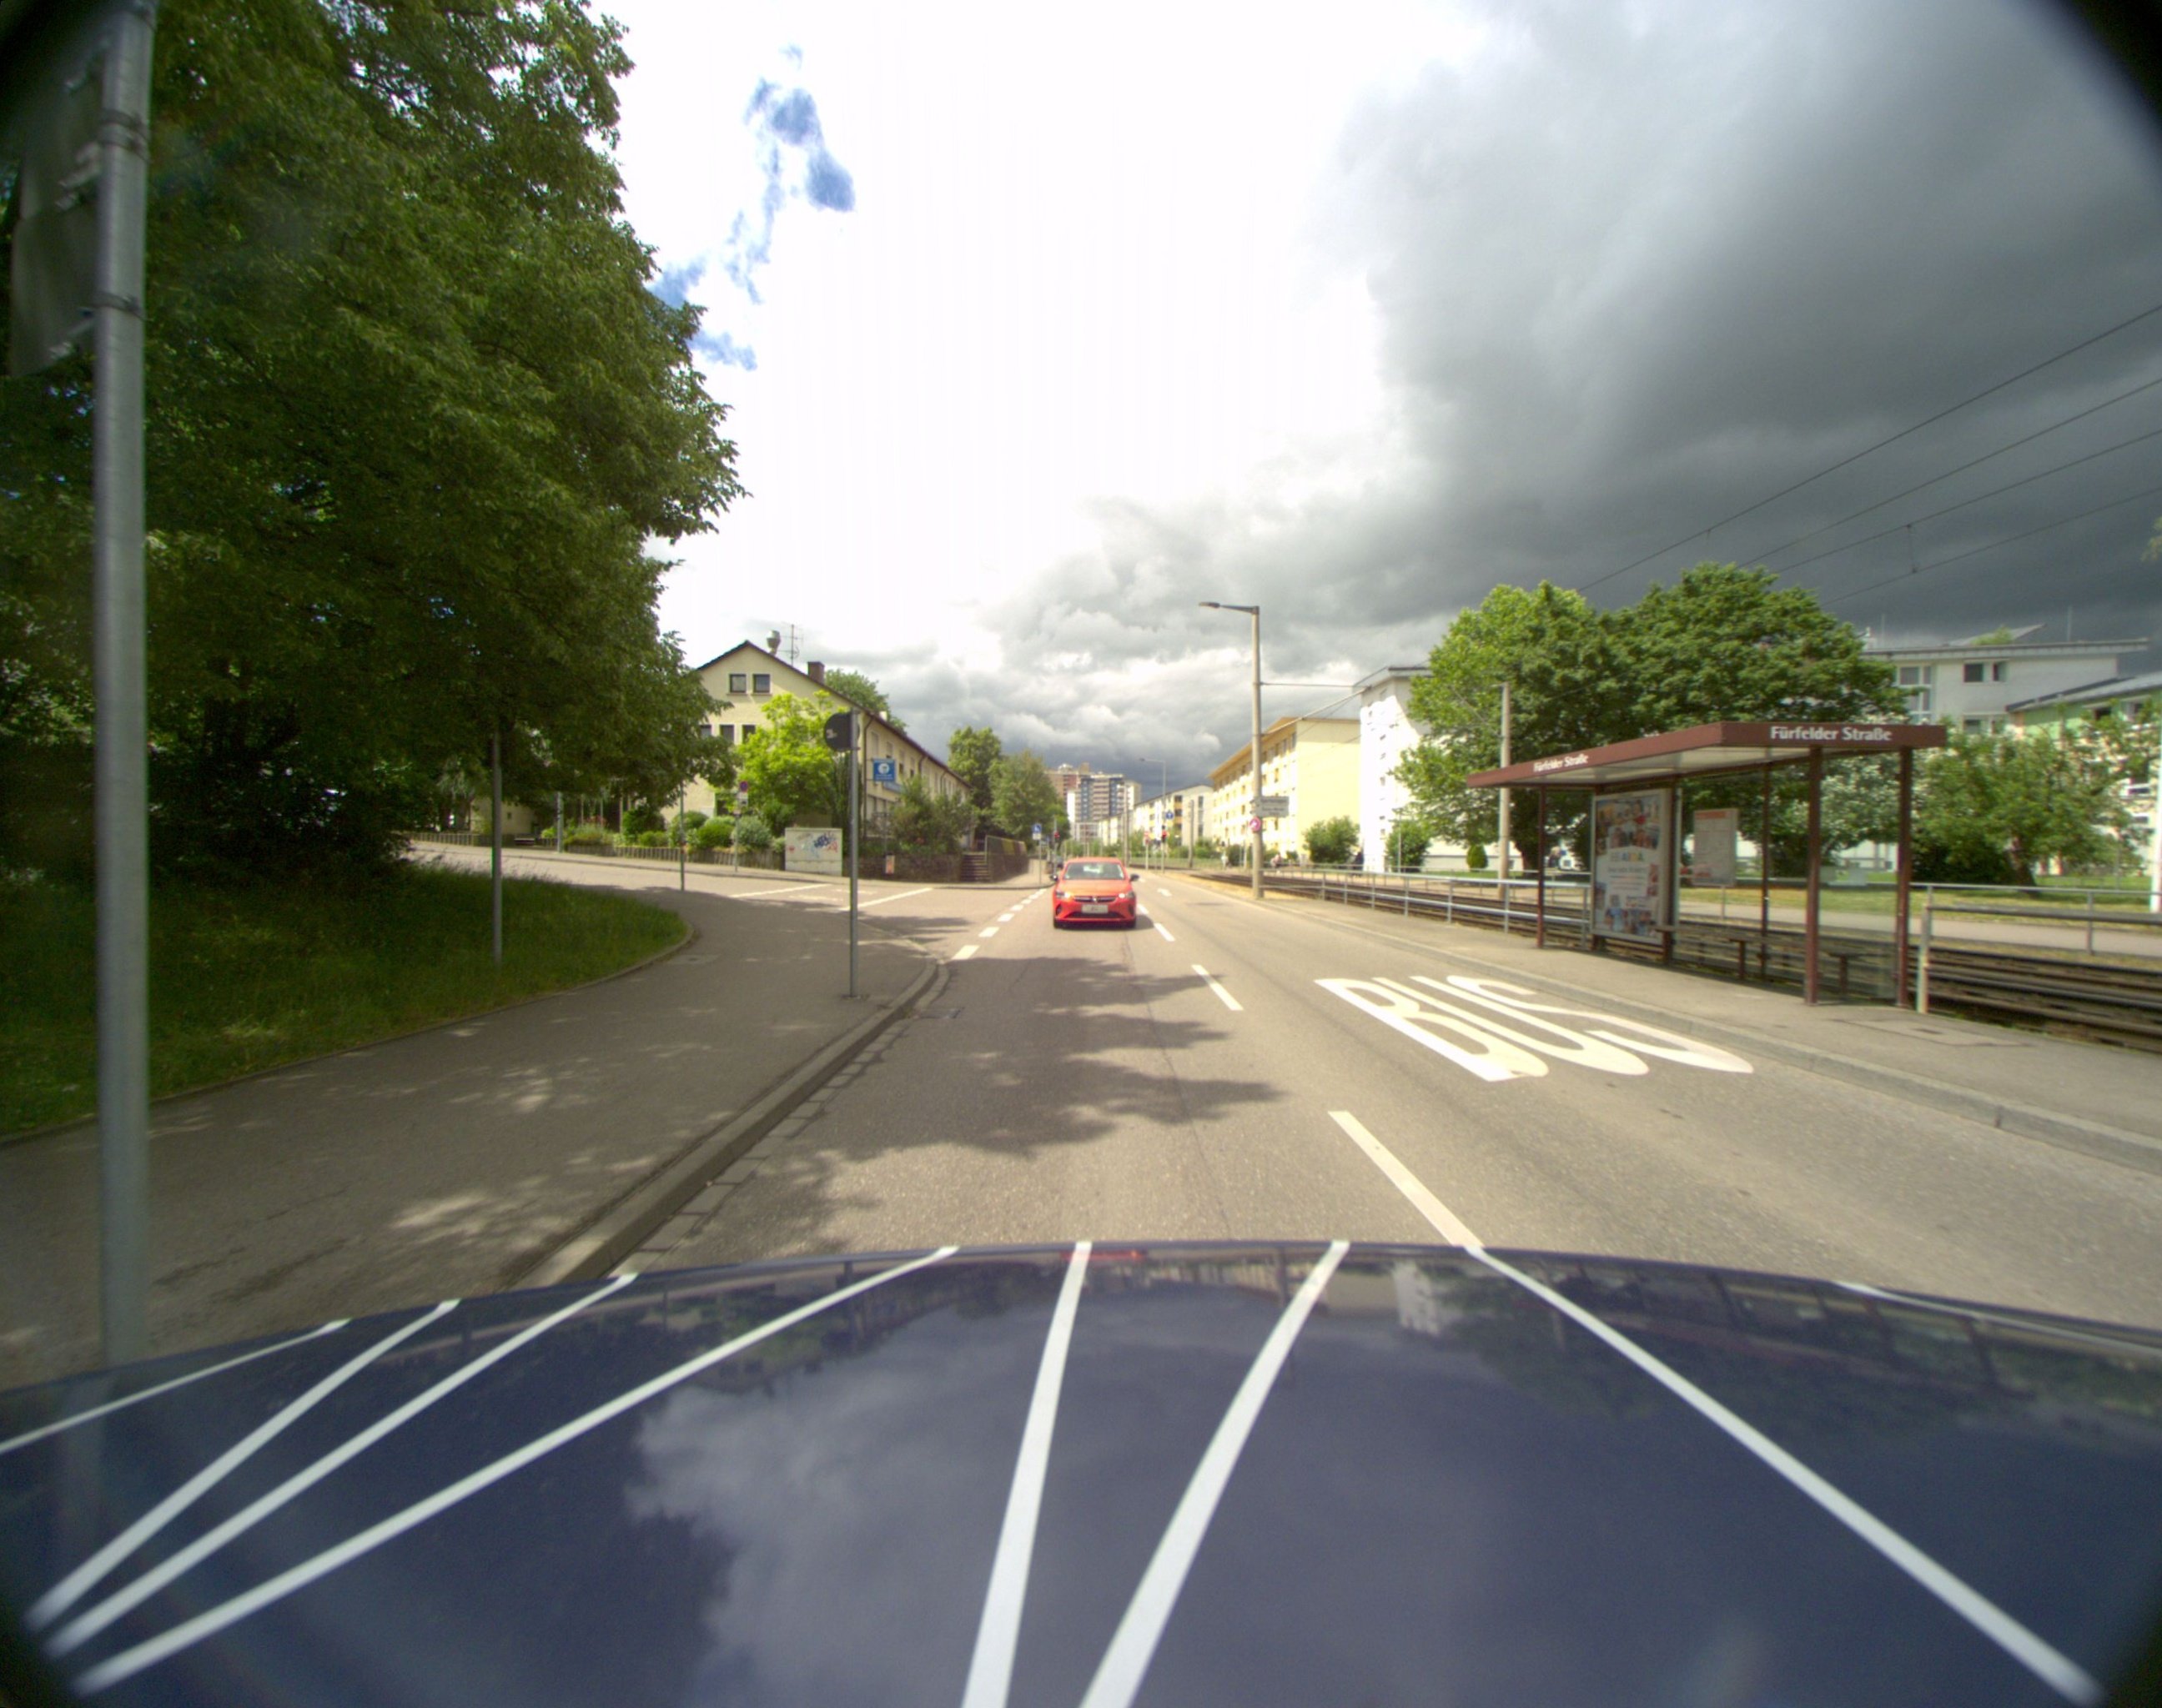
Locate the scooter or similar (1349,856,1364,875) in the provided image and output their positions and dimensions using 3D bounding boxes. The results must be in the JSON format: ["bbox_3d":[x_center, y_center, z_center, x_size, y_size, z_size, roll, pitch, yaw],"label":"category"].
[{"bbox_3d":[16.458,0.683,45.394,0.606,1.108,0.821,-1,1,-1],"label":"scooter or similar"}]

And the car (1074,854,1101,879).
[{"bbox_3d":[0.384,0.775,47.907,1.499,1.477,3.519,0,0,-3],"label":"car"}]

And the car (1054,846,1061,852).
[{"bbox_3d":[-7.436,-1.522,240.121,2.237,2.050,4.360,0,0,-3],"label":"car"}]

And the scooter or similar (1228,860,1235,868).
[{"bbox_3d":[15.279,0.972,76.998,0.534,0.769,0.666,-2,1,-1],"label":"scooter or similar"}]

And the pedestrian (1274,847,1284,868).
[{"bbox_3d":[16.015,0.267,61.488,0.647,1.683,0.679,-1,1,0],"label":"pedestrian"}]

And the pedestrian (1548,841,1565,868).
[{"bbox_3d":[28.259,0.048,45.190,0.685,1.534,0.514,-2,6,6],"label":"pedestrian"}]

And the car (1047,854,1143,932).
[{"bbox_3d":[0.176,0.754,16.890,1.783,1.434,4.129,-2,1,-3],"label":"car"}]

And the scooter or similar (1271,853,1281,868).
[{"bbox_3d":[16.017,0.529,62.290,0.609,1.156,0.891,-1,1,1],"label":"scooter or similar"}]

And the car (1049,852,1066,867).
[{"bbox_3d":[-2.577,0.607,83.451,1.760,1.570,4.020,0,0,-3],"label":"car"}]

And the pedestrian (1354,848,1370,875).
[{"bbox_3d":[16.467,0.435,44.533,0.614,1.531,0.874,-1,1,-1],"label":"pedestrian"}]

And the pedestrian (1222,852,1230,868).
[{"bbox_3d":[14.703,0.573,76.851,0.605,1.598,0.773,-2,1,-1],"label":"pedestrian"}]

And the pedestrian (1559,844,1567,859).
[{"bbox_3d":[28.070,-0.148,44.250,0.329,0.878,0.256,-2,6,11],"label":"pedestrian"}]
